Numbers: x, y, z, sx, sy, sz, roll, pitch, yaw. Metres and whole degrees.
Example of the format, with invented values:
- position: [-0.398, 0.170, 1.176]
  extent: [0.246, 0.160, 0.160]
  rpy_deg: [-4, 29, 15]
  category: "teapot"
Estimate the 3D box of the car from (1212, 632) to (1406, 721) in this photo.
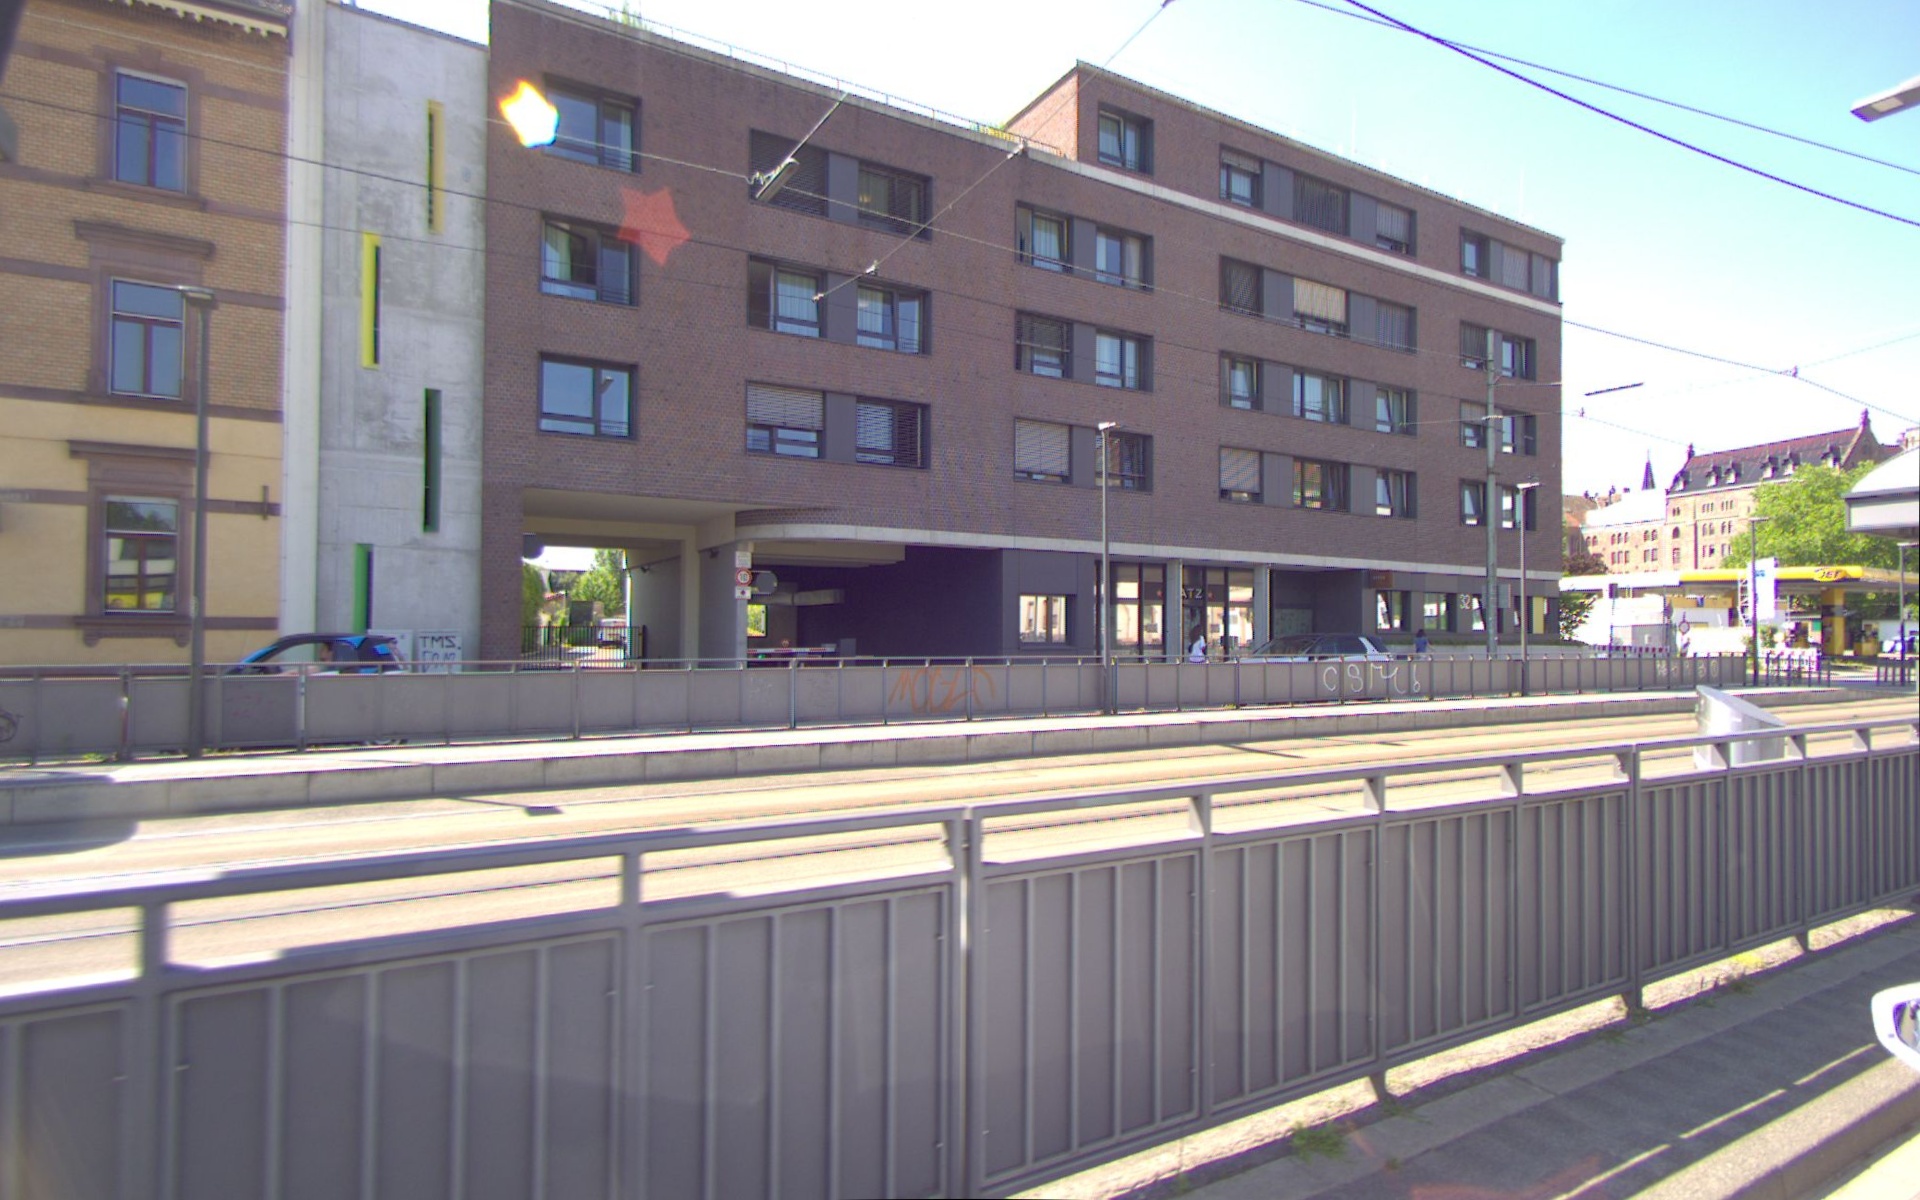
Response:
- position: [7.739, 1.618, 22.191]
  extent: [4.139, 1.752, 1.792]
  rpy_deg: [1, 0, -30]
  category: "car"

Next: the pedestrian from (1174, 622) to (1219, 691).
- position: [6.453, 1.525, 27.411]
  extent: [0.829, 1.843, 0.840]
  rpy_deg: [1, -2, -30]
  category: "pedestrian"

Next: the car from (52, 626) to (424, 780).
- position: [-8.722, 1.170, 12.531]
  extent: [3.537, 1.644, 1.704]
  rpy_deg: [1, -1, -30]
  category: "car"

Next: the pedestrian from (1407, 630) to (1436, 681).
- position: [15.396, 1.832, 33.508]
  extent: [0.692, 1.686, 0.578]
  rpy_deg: [1, -2, -32]
  category: "pedestrian"

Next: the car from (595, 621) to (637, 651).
- position: [-21.770, 2.265, 63.430]
  extent: [1.904, 1.845, 3.972]
  rpy_deg: [1, -2, -28]
  category: "car"

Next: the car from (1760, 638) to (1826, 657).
- position: [73.234, 4.202, 88.386]
  extent: [1.903, 1.547, 4.163]
  rpy_deg: [2, -2, -12]
  category: "car"
